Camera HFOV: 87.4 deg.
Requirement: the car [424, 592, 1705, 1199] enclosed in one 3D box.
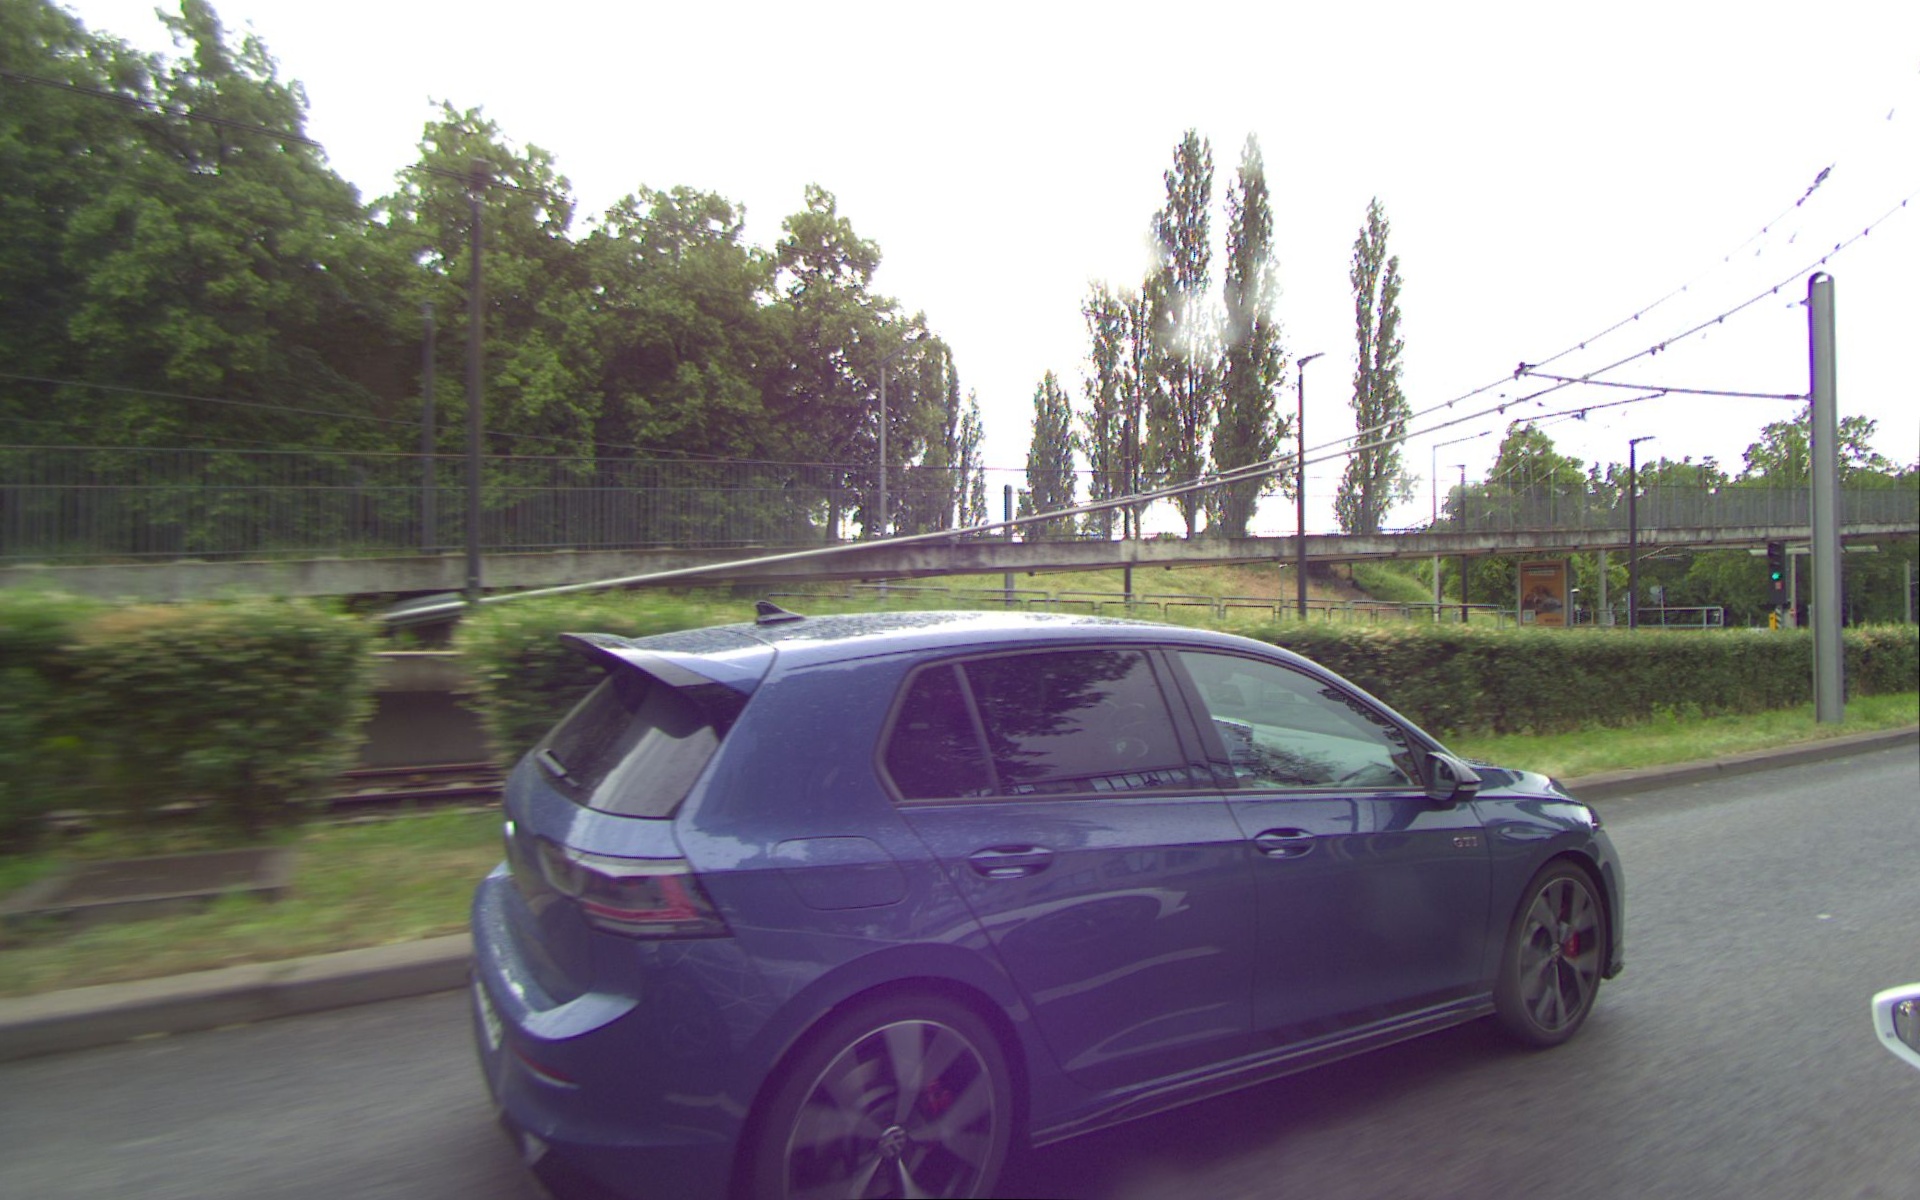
[{"bbox_3d":[0.571,0.726,3.559,4.296,1.397,1.799,1,0,-31],"label":"car"}]
